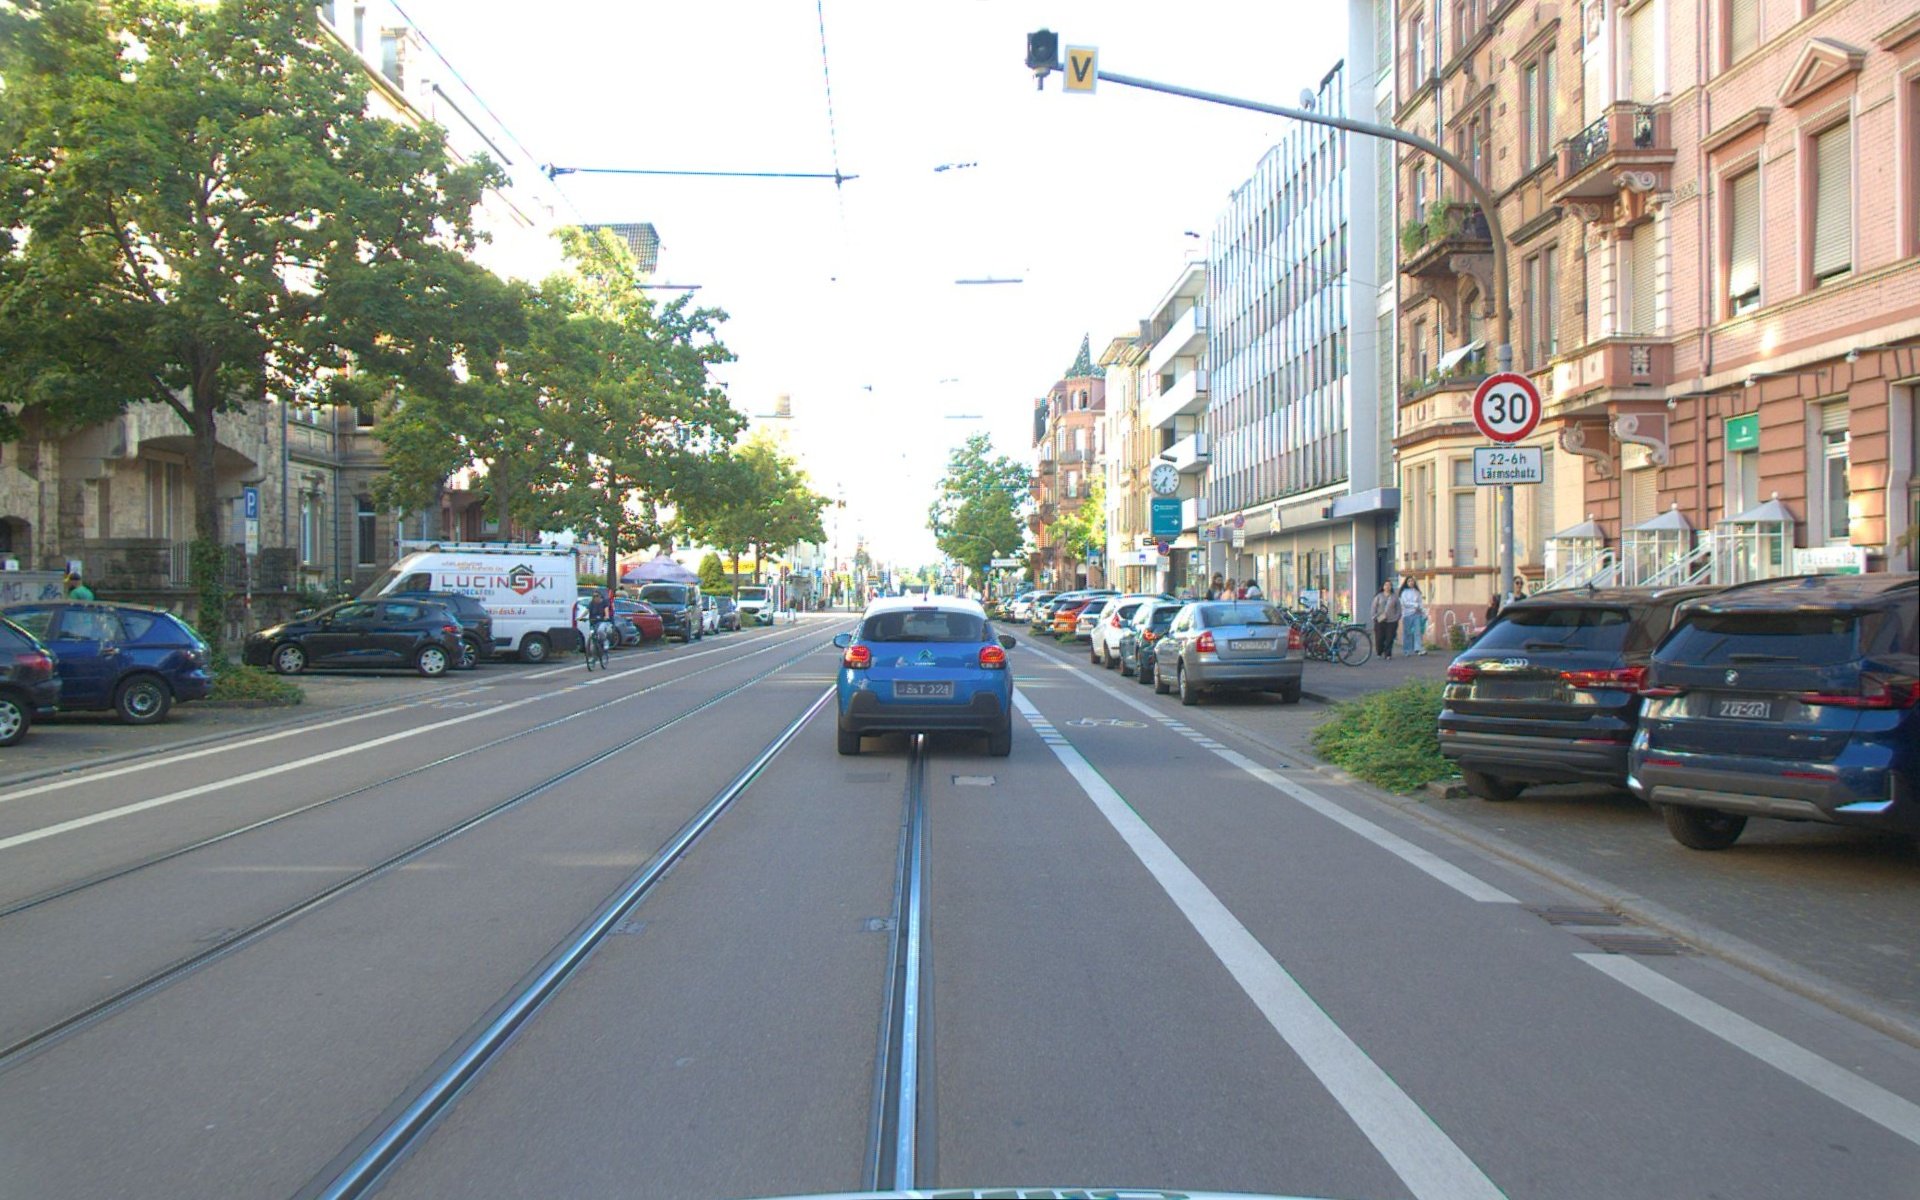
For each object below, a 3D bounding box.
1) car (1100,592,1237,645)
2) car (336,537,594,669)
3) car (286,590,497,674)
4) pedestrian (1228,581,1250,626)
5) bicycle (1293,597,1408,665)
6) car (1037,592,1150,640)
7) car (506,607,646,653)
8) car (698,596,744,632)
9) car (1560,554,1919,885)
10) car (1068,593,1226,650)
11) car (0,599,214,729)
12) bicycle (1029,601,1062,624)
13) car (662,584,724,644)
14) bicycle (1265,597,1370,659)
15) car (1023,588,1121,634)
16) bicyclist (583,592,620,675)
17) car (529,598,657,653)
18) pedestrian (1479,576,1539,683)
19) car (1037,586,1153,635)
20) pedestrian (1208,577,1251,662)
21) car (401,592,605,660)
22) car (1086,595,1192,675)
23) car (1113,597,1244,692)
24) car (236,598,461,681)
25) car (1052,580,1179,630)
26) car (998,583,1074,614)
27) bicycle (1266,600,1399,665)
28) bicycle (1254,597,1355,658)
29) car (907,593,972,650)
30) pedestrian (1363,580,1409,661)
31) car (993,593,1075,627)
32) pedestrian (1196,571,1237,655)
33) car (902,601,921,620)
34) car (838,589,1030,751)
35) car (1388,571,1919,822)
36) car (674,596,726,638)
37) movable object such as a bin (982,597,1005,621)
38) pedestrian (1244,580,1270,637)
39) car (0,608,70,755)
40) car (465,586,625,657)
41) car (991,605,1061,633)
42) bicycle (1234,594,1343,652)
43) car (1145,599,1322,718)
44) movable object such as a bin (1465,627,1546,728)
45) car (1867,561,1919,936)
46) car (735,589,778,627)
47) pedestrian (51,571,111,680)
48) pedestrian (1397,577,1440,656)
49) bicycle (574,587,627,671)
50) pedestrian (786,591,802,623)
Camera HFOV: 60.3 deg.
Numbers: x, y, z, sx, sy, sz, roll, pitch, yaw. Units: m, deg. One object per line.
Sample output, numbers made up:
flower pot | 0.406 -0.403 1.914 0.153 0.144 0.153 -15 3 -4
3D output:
car | 6.201 0.536 49.071 3.735 1.513 1.819 1 0 -31
car | -11.110 0.080 37.310 5.316 2.797 1.787 1 -1 -31
car | -11.771 0.652 34.270 3.939 1.646 1.698 1 0 -27
pedestrian | 10.004 0.125 59.358 0.678 1.615 0.678 0 -1 -1
bicycle | 7.363 0.580 31.225 2.015 1.243 0.663 0 0 -3
car | 4.499 0.529 55.631 3.409 1.582 1.804 1 0 -33
car | -11.188 0.875 48.181 3.752 1.287 1.503 1 0 -27
car | -10.481 0.608 72.808 1.713 1.513 4.038 0 0 -4
car | 5.831 0.601 9.928 3.937 1.624 2.070 1 0 -26
car | 5.225 0.585 45.989 4.394 1.534 1.520 1 0 -31
car | -11.372 0.751 20.284 3.943 1.515 1.789 1 0 -29
bicycle | 3.994 0.598 77.241 0.549 1.066 1.784 1 0 -36
car | -9.385 0.488 58.450 1.713 2.008 5.236 0 0 -4
bicycle | 7.259 0.561 33.613 1.978 1.243 0.663 0 -1 -2
car | 4.178 0.403 61.528 3.417 1.668 1.662 1 0 -38
bicyclist | -7.542 0.696 34.796 0.621 1.711 0.726 0 -1 -1
car | -11.417 0.792 51.415 3.672 1.651 1.777 1 0 -23
pedestrian | 8.524 0.455 25.686 0.697 1.635 0.654 0 -1 -2
car | 4.806 0.367 58.883 3.686 1.681 2.023 1 0 -34
pedestrian | 5.247 0.380 32.229 0.697 1.635 0.654 0 -1 -2
car | -11.573 0.651 42.009 4.713 1.646 1.692 1 0 -34
car | 3.831 0.727 36.031 1.835 1.624 3.999 0 0 -1
car | 3.957 0.768 30.517 1.835 1.624 3.999 0 0 -1
car | -11.595 0.735 31.632 3.924 1.515 1.797 1 0 -18
car | 4.974 0.175 52.775 3.686 1.547 1.945 1 0 -34
car | 4.015 -0.077 87.421 3.601 1.601 1.850 1 0 -21
bicycle | 7.343 0.633 32.656 2.487 1.243 0.663 0 -1 -2
bicycle | 7.210 0.578 34.651 1.978 1.243 0.663 0 -1 -2
car | -0.599 0.620 49.035 1.835 1.624 3.999 0 0 -1
pedestrian | 8.812 0.427 34.255 0.697 1.635 0.654 -3 0 -2
car | 3.615 0.479 80.523 3.615 1.601 1.842 1 0 -30
pedestrian | 5.213 0.266 33.642 0.697 1.701 0.654 0 -1 -2
car | -3.750 0.825 127.037 1.394 1.457 3.138 0 0 -1
car | -0.276 0.644 16.796 1.727 1.466 3.555 0 0 -1
car | 5.499 0.641 12.705 4.263 1.624 1.960 1 0 -33
car | -10.602 0.663 67.597 1.713 1.646 4.407 0 0 -4
movable object such as a bin | 2.057 0.570 103.207 1.366 1.509 1.655 0 0 -1
pedestrian | 9.340 0.270 52.016 0.678 1.787 0.678 0 -1 -1
car | -11.551 0.836 17.165 3.951 1.515 1.785 1 0 -34
car | -11.229 0.579 44.769 3.939 1.848 1.698 1 0 -27
car | 3.761 1.068 93.956 3.601 1.561 1.778 1 0 -21
bicycle | 7.299 0.508 36.795 2.309 1.243 0.664 0 0 2
car | 3.999 0.809 24.944 1.835 1.624 4.718 0 0 -1
movable object such as a bin | 5.861 0.820 17.804 0.592 1.045 0.806 -1 0 -1
car | 6.228 0.658 7.384 3.937 1.624 1.943 1 0 -26
car | -10.609 0.416 86.540 1.794 1.880 4.213 0 0 -1
pedestrian | -14.369 0.415 27.042 0.566 1.756 0.761 0 -1 -2
pedestrian | 9.543 0.341 34.428 0.697 1.635 0.654 0 -1 -2
bicycle | -7.549 0.596 34.792 0.666 1.708 2.096 0 0 -1
pedestrian | -9.175 0.403 91.481 0.720 1.756 0.623 1 -1 -25
